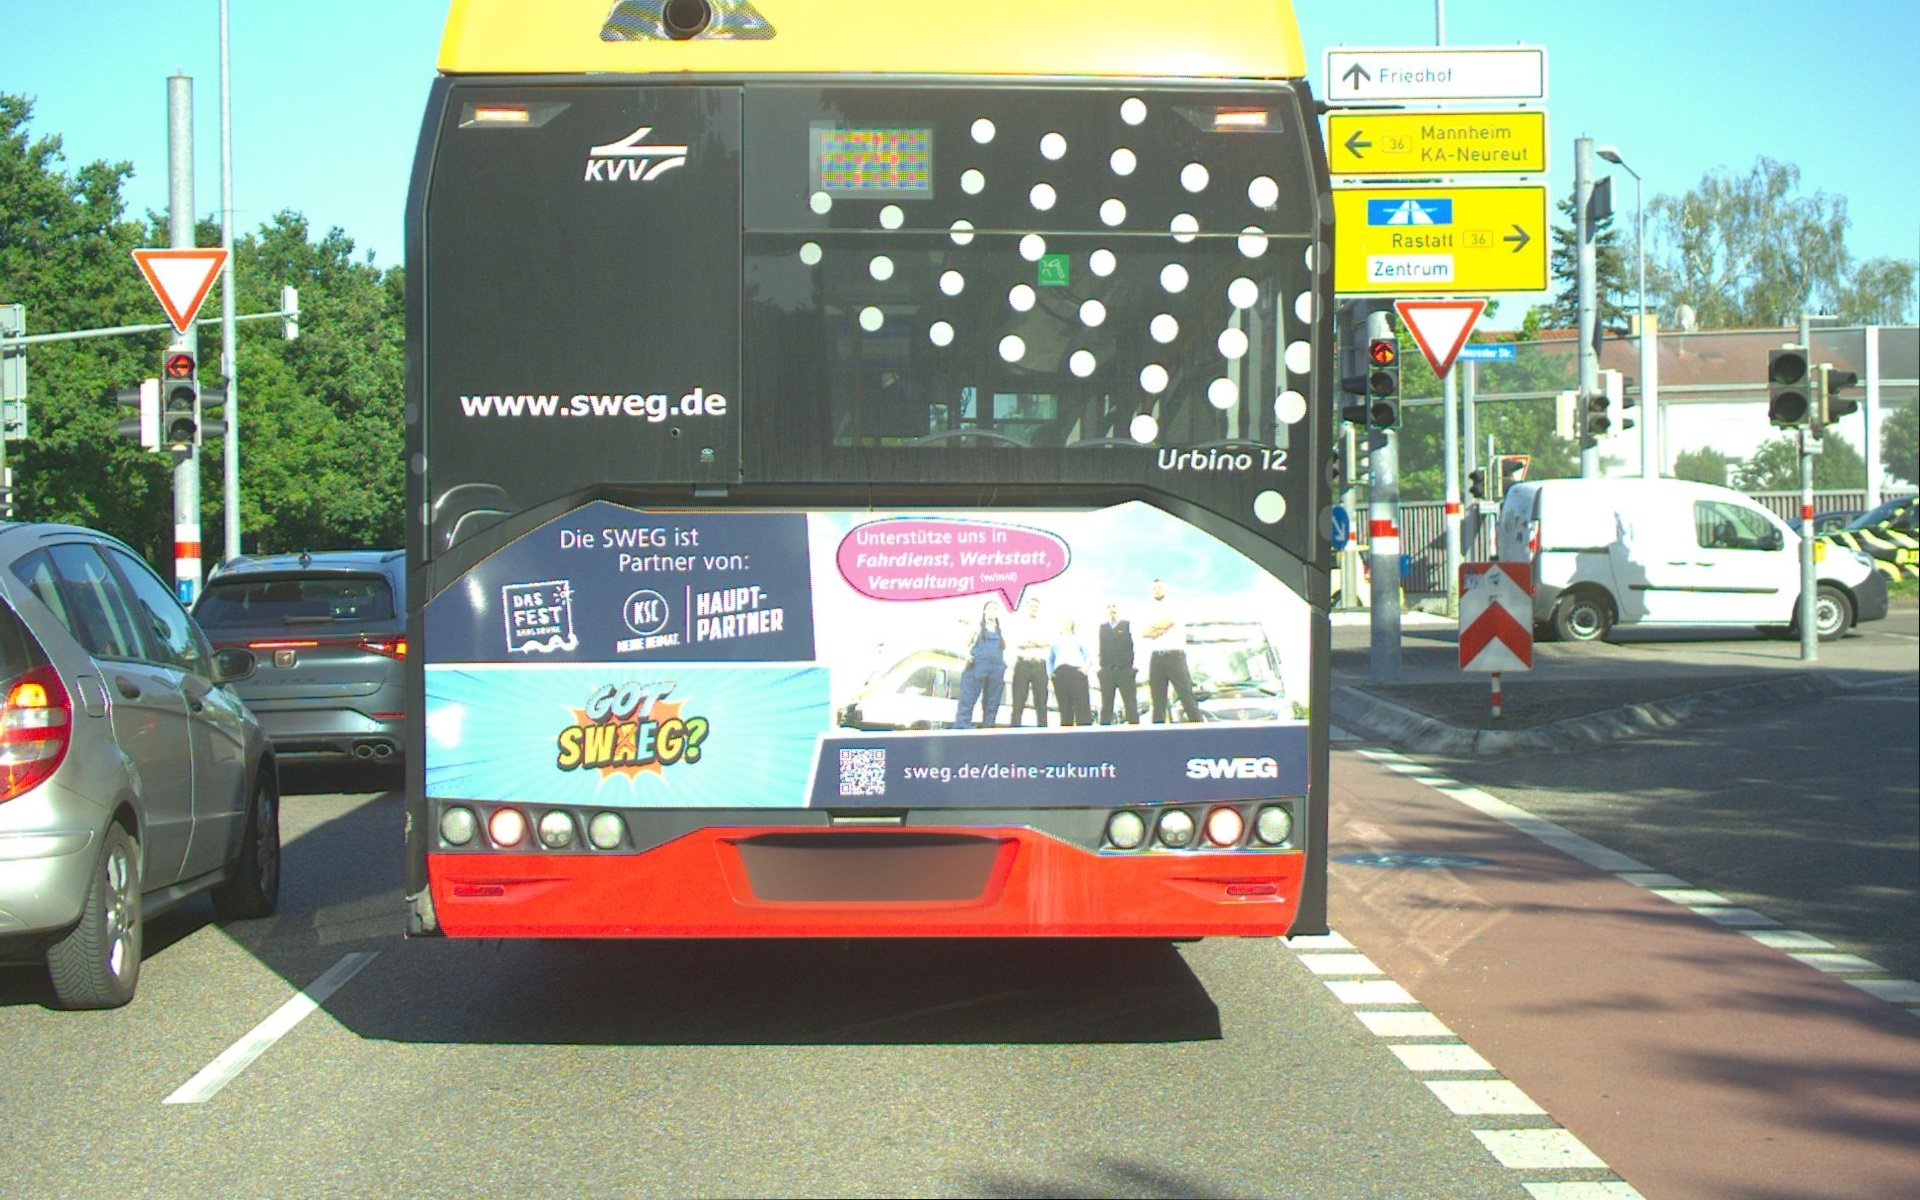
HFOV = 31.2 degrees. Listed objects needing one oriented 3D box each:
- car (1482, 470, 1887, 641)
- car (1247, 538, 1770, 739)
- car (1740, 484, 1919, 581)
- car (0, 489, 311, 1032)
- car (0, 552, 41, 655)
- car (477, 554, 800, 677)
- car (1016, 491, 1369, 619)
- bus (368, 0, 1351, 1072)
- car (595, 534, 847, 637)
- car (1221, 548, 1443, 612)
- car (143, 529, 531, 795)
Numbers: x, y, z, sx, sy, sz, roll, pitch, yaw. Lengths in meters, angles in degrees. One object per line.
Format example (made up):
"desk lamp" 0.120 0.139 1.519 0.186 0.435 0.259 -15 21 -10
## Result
"car" 7.975 -0.490 38.008 4.111 1.795 1.458 -1 0 -4
"car" 3.852 0.244 24.352 3.523 1.297 1.574 1 2 8
"car" 13.159 -0.920 47.934 4.159 1.298 1.575 0 0 -3
"car" -3.580 0.433 12.412 1.754 1.614 4.034 -1 2 -1
"car" -16.743 0.070 54.463 3.986 1.606 1.696 -1 1 -6
"car" -4.679 0.218 49.682 4.526 1.709 2.000 0 0 -8
"car" 2.897 -0.558 43.431 4.220 1.557 1.764 0 0 -5
"bus" -0.338 -0.530 15.137 2.596 3.323 11.984 0 1 -1
"car" -3.892 -0.249 55.696 3.986 1.606 1.696 -1 1 -6
"car" 6.821 -0.378 63.068 3.761 1.132 1.573 0 1 24
"car" -3.744 0.337 21.231 1.588 1.480 3.682 -1 0 2
